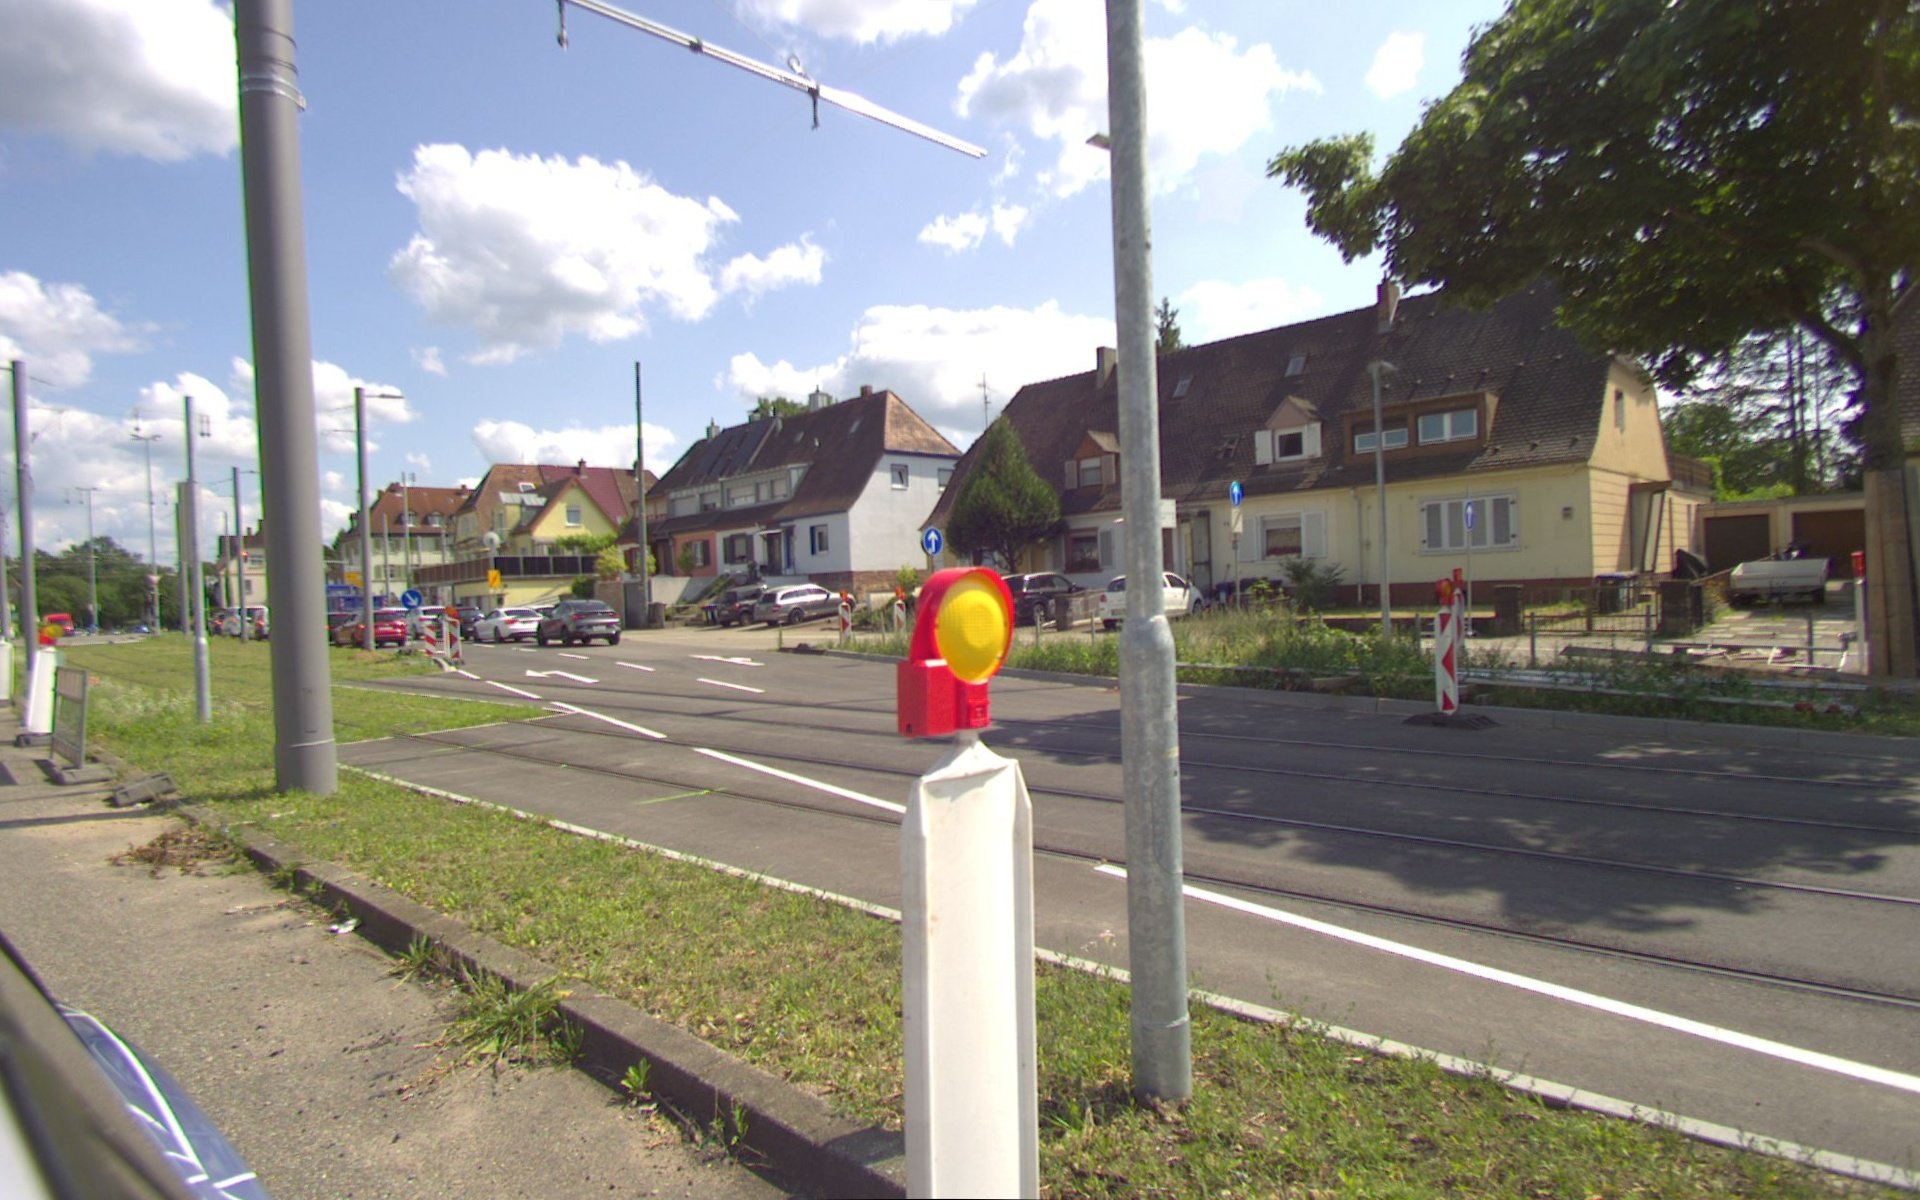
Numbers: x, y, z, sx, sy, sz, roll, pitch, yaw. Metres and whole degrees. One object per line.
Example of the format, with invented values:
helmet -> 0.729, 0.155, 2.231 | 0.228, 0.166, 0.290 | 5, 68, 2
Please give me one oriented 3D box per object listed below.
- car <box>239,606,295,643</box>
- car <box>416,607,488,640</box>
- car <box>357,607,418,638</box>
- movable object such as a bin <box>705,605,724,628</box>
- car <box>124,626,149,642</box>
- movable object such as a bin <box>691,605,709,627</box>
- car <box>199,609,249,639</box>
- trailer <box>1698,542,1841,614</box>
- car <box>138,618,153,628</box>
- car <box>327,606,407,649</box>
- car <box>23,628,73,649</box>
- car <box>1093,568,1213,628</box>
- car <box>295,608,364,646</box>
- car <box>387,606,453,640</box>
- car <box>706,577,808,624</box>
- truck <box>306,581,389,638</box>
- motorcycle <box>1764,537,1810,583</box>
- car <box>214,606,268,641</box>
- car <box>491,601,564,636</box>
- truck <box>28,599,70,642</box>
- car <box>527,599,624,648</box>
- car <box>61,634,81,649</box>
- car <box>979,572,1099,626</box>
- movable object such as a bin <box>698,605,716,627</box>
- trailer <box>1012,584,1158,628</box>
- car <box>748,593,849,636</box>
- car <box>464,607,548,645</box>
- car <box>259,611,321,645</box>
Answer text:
car -> -38.271, 1.348, 55.817 | 1.706, 1.868, 4.544 | -3, 1, -45
car -> -22.883, 1.065, 45.496 | 1.704, 1.344, 4.547 | -3, 1, -42
car -> -31.425, 1.250, 55.506 | 1.706, 1.574, 4.544 | -3, 1, -45
movable object such as a bin -> -10.593, 0.695, 43.685 | 0.610, 0.959, 0.511 | -2, 1, 44
car -> -104.991, 4.348, 129.001 | 2.250, 1.886, 4.996 | -3, 1, -37
movable object such as a bin -> -11.437, 0.714, 44.509 | 0.583, 0.959, 0.511 | -2, 1, 44
car -> -47.927, 1.584, 65.847 | 1.896, 1.794, 4.544 | -3, 1, -45
trailer -> 18.193, -0.511, 22.648 | 2.024, 1.404, 5.197 | -2, 1, 44
car -> -137.542, 3.857, 170.832 | 1.697, 1.603, 4.177 | -3, 1, -42
car -> -23.955, 1.110, 40.807 | 1.705, 1.574, 4.545 | -3, 1, -44
car -> -87.482, 3.688, 97.073 | 4.968, 1.886, 2.262 | -2, 1, 32
car -> 5.532, -0.089, 28.712 | 1.758, 1.556, 3.914 | -2, 1, 37
car -> -28.686, 1.234, 45.963 | 1.705, 1.574, 4.648 | -3, 1, -44
car -> -27.075, 1.132, 50.652 | 1.705, 1.574, 4.545 | -3, 1, -44
car -> -8.640, 0.010, 43.306 | 1.802, 1.859, 3.945 | -2, 1, 42
truck -> -37.311, 0.622, 61.494 | 2.802, 3.177, 7.943 | -3, 1, -42
motorcycle -> 24.840, -1.193, 30.373 | 0.914, 1.298, 2.782 | -2, 0, 42
car -> -43.590, 1.419, 61.356 | 1.896, 1.979, 4.544 | -3, 1, -45
car -> -20.882, 0.898, 48.773 | 1.705, 1.574, 4.545 | -3, 1, -44
truck -> -118.882, 2.720, 132.233 | 3.425, 5.222, 14.240 | -3, 1, -40
car -> -13.397, 0.791, 35.080 | 1.703, 1.538, 4.779 | -3, 1, -39
car -> -128.685, 6.000, 146.479 | 2.030, 2.023, 4.956 | -2, 1, -41
car -> 2.588, -0.049, 32.508 | 3.839, 1.556, 1.708 | -3, 1, -44
movable object such as a bin -> -11.020, 0.693, 44.102 | 0.583, 0.959, 0.511 | -2, 1, 44
trailer -> 3.863, 0.159, 30.633 | 1.960, 1.133, 4.870 | -2, 1, 41
car -> -6.524, 0.556, 41.223 | 1.681, 1.566, 3.837 | -2, 1, 42
car -> -18.074, 1.008, 40.215 | 1.704, 1.344, 4.547 | -3, 1, -42
car -> -33.709, 1.402, 50.864 | 1.706, 1.574, 4.544 | -3, 1, -45
